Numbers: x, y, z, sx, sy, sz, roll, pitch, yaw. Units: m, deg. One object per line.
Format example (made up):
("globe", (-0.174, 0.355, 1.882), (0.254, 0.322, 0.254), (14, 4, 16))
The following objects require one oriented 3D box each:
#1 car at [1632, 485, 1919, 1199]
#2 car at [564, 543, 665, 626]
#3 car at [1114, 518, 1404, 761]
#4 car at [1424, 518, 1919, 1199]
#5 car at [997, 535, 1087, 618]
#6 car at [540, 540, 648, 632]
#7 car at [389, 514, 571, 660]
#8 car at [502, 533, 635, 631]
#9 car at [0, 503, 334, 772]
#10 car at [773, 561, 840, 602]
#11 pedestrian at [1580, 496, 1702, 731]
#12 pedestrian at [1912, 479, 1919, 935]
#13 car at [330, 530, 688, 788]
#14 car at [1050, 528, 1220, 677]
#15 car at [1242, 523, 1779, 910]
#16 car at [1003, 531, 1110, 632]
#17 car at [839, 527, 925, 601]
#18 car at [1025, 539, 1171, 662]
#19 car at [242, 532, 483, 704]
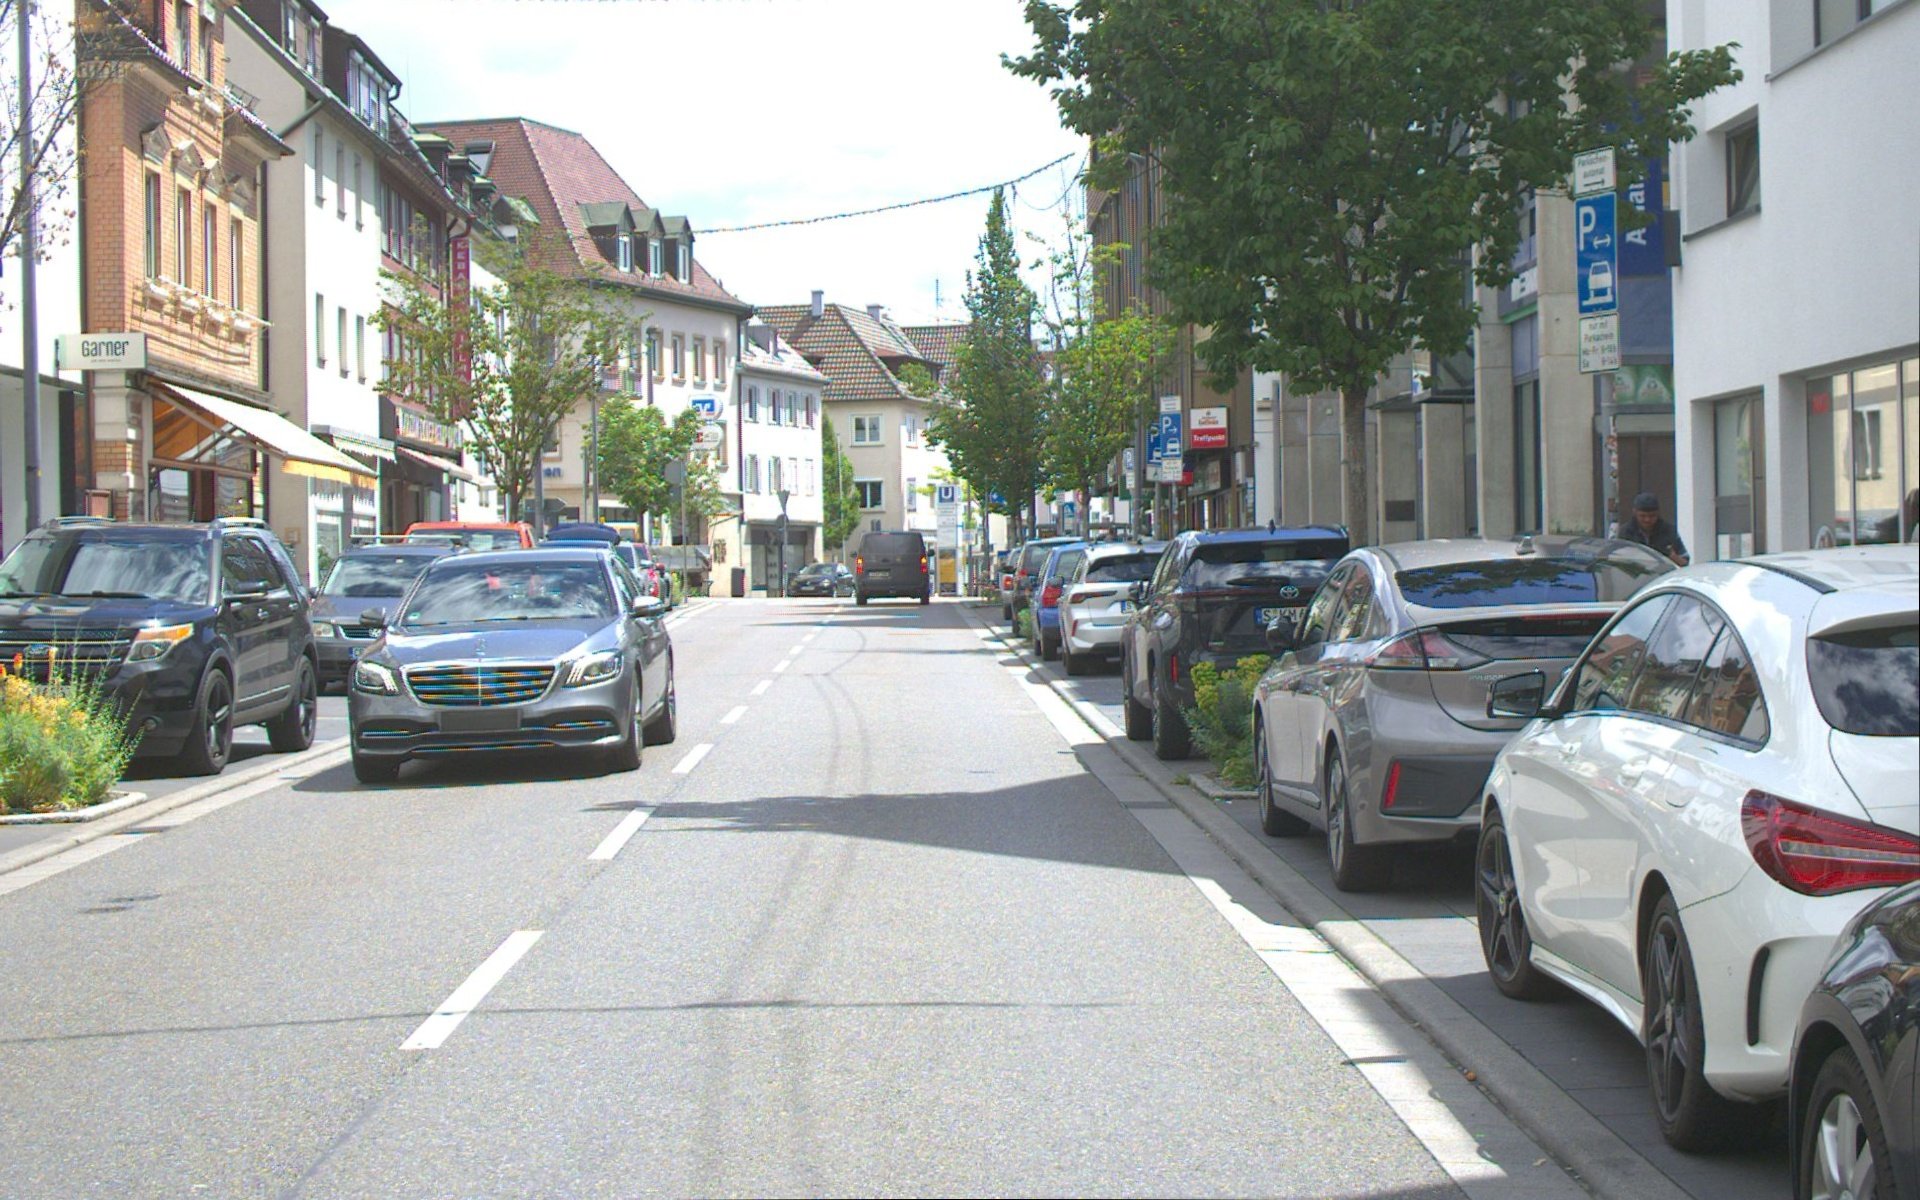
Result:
("car", (2.325, 0.610, 4.574), (1.689, 1.467, 4.525), (1, 2, -4))
("car", (-6.944, -0.339, 69.430), (1.799, 1.598, 4.219), (-1, 1, -3))
("car", (2.053, 0.255, 24.630), (1.721, 1.571, 4.109), (1, 0, 0))
("car", (2.462, 0.565, 9.746), (1.630, 1.471, 4.957), (1, 0, 0))
("car", (1.594, -0.477, 67.549), (1.609, 1.490, 3.795), (-4, 1, 0))
("car", (-6.706, -0.283, 63.310), (1.799, 1.598, 4.352), (-1, 1, -4))
("car", (-6.527, -0.176, 47.202), (1.816, 1.882, 4.841), (1, 0, 0))
("car", (-6.596, -0.326, 58.313), (1.799, 1.592, 4.389), (0, 1, -1))
("car", (-5.945, 0.234, 24.888), (1.816, 1.749, 4.668), (1, 0, 2))
("car", (-5.648, -0.666, 126.988), (1.625, 1.481, 3.803), (1, 0, 11))
("pedestrian", (5.119, 0.101, 25.869), (0.741, 1.731, 0.757), (1, 0, 0))
("pedestrian", (4.165, 0.433, 13.641), (0.588, 1.834, 0.576), (1, 0, 0))
("car", (-3.030, 0.325, 24.052), (1.905, 1.558, 4.646), (-2, 1, -1))
("car", (1.941, 0.021, 39.185), (1.721, 1.571, 4.428), (1, 0, 0))
("car", (2.307, 0.442, 15.469), (1.721, 1.471, 4.354), (1, 0, 0))
("car", (1.526, -0.316, 55.605), (1.609, 1.527, 3.795), (-2, 1, 0))
("car", (-2.047, -0.916, 88.793), (2.040, 1.842, 5.000), (1, 0, -3))
("car", (1.747, -0.001, 44.614), (1.721, 1.488, 4.109), (1, 0, 0))
("car", (-6.491, 0.180, 37.808), (1.816, 1.749, 4.464), (1, 0, 0))
